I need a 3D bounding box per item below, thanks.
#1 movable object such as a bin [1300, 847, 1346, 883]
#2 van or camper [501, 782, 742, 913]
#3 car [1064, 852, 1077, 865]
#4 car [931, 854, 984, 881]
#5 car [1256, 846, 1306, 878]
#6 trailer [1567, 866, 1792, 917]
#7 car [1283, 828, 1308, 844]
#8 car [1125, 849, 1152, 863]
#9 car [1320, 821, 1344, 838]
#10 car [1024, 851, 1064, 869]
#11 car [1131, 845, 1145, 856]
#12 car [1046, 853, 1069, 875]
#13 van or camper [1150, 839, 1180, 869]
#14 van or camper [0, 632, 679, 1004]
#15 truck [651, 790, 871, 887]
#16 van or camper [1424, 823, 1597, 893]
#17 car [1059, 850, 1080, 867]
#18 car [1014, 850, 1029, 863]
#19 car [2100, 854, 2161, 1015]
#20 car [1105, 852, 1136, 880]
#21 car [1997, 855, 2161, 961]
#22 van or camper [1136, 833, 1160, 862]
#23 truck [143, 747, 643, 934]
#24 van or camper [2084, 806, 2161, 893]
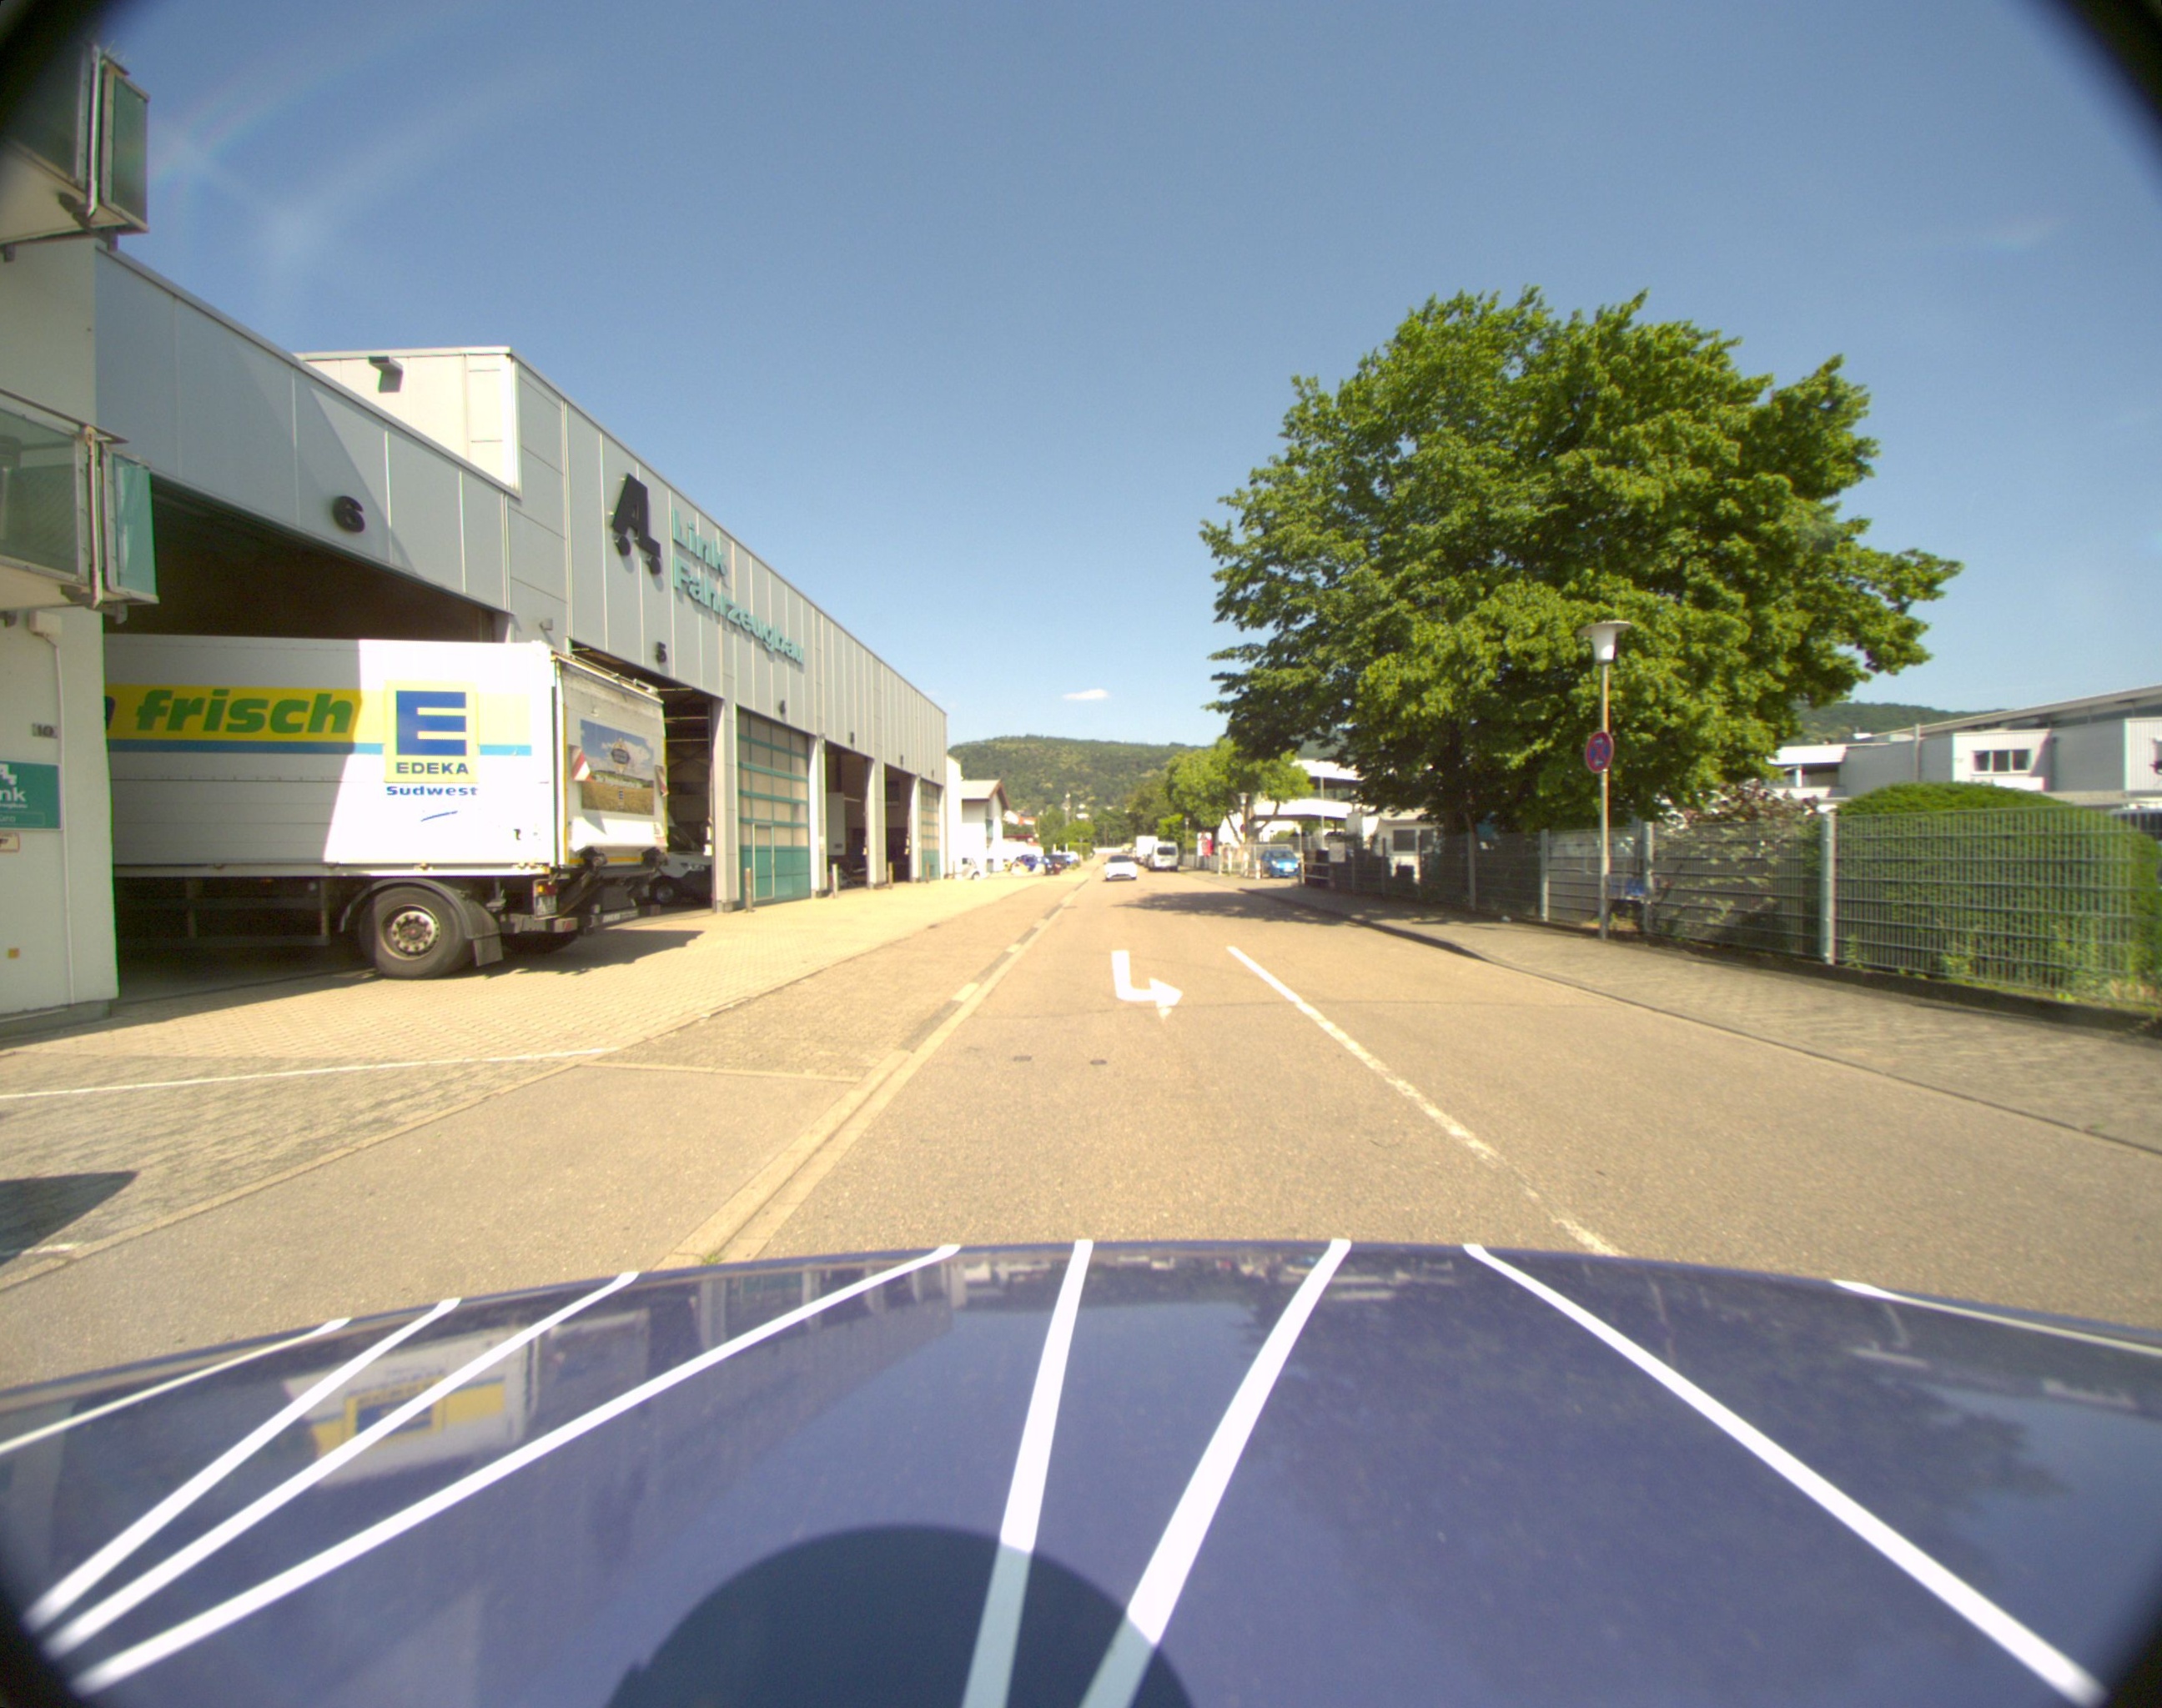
[{"bbox_3d":[9.754,0.423,30.685,1.383,1.350,2.104,-3,1,8],"label":"movable object such as a bin"},{"bbox_3d":[-12.004,-0.180,20.131,5.055,3.188,2.000,-1,1,1],"label":"van or camper"},{"bbox_3d":[-1.288,0.496,91.250,1.452,1.371,3.186,-3,1,-1],"label":"car"},{"bbox_3d":[-7.266,0.797,44.801,2.829,1.525,1.309,-1,-1,-44],"label":"car"},{"bbox_3d":[10.194,0.391,38.967,1.644,1.449,3.525,-3,1,1],"label":"car"},{"bbox_3d":[12.104,0.741,15.540,3.289,0.934,1.613,0,1,4],"label":"trailer"},{"bbox_3d":[19.682,-1.619,69.704,1.705,1.449,3.531,0,1,23],"label":"car"},{"bbox_3d":[6.454,0.194,85.388,1.711,1.449,3.518,-1,1,-21],"label":"car"},{"bbox_3d":[23.072,-2.288,69.715,1.705,1.450,3.530,-2,1,24],"label":"car"},{"bbox_3d":[-2.901,0.461,60.177,2.975,1.332,1.453,-1,1,3],"label":"car"},{"bbox_3d":[8.637,-0.548,114.788,1.708,1.564,3.524,-3,1,0],"label":"car"},{"bbox_3d":[-1.553,0.671,51.054,1.452,1.371,3.186,-1,1,-1],"label":"car"},{"bbox_3d":[6.714,-0.043,61.068,2.028,2.363,4.685,0,1,2],"label":"van or camper"},{"bbox_3d":[-11.386,-0.353,8.843,11.633,3.671,2.779,-1,1,-4],"label":"van or camper"},{"bbox_3d":[-12.908,-0.591,31.008,7.853,3.760,2.625,0,1,3],"label":"truck"},{"bbox_3d":[12.975,0.114,23.140,4.192,1.853,1.774,-3,1,4],"label":"van or camper"},{"bbox_3d":[-1.070,0.418,70.721,1.453,1.487,3.184,-3,1,-8],"label":"car"},{"bbox_3d":[-7.155,0.269,91.684,1.452,1.371,3.186,-3,1,-1],"label":"car"},{"bbox_3d":[12.264,0.762,6.795,3.833,1.533,1.856,0,1,-1],"label":"car"},{"bbox_3d":[2.286,0.662,44.193,1.736,1.521,4.110,0,0,3],"label":"car"},{"bbox_3d":[16.483,0.771,11.503,3.077,1.464,1.653,0,1,4],"label":"car"},{"bbox_3d":[8.029,-0.764,91.420,2.525,3.350,5.591,-1,1,2],"label":"van or camper"},{"bbox_3d":[-13.447,-0.237,15.227,7.968,3.385,2.480,0,1,3],"label":"truck"},{"bbox_3d":[30.789,-0.166,20.446,4.595,2.292,1.782,-1,2,9],"label":"van or camper"}]
